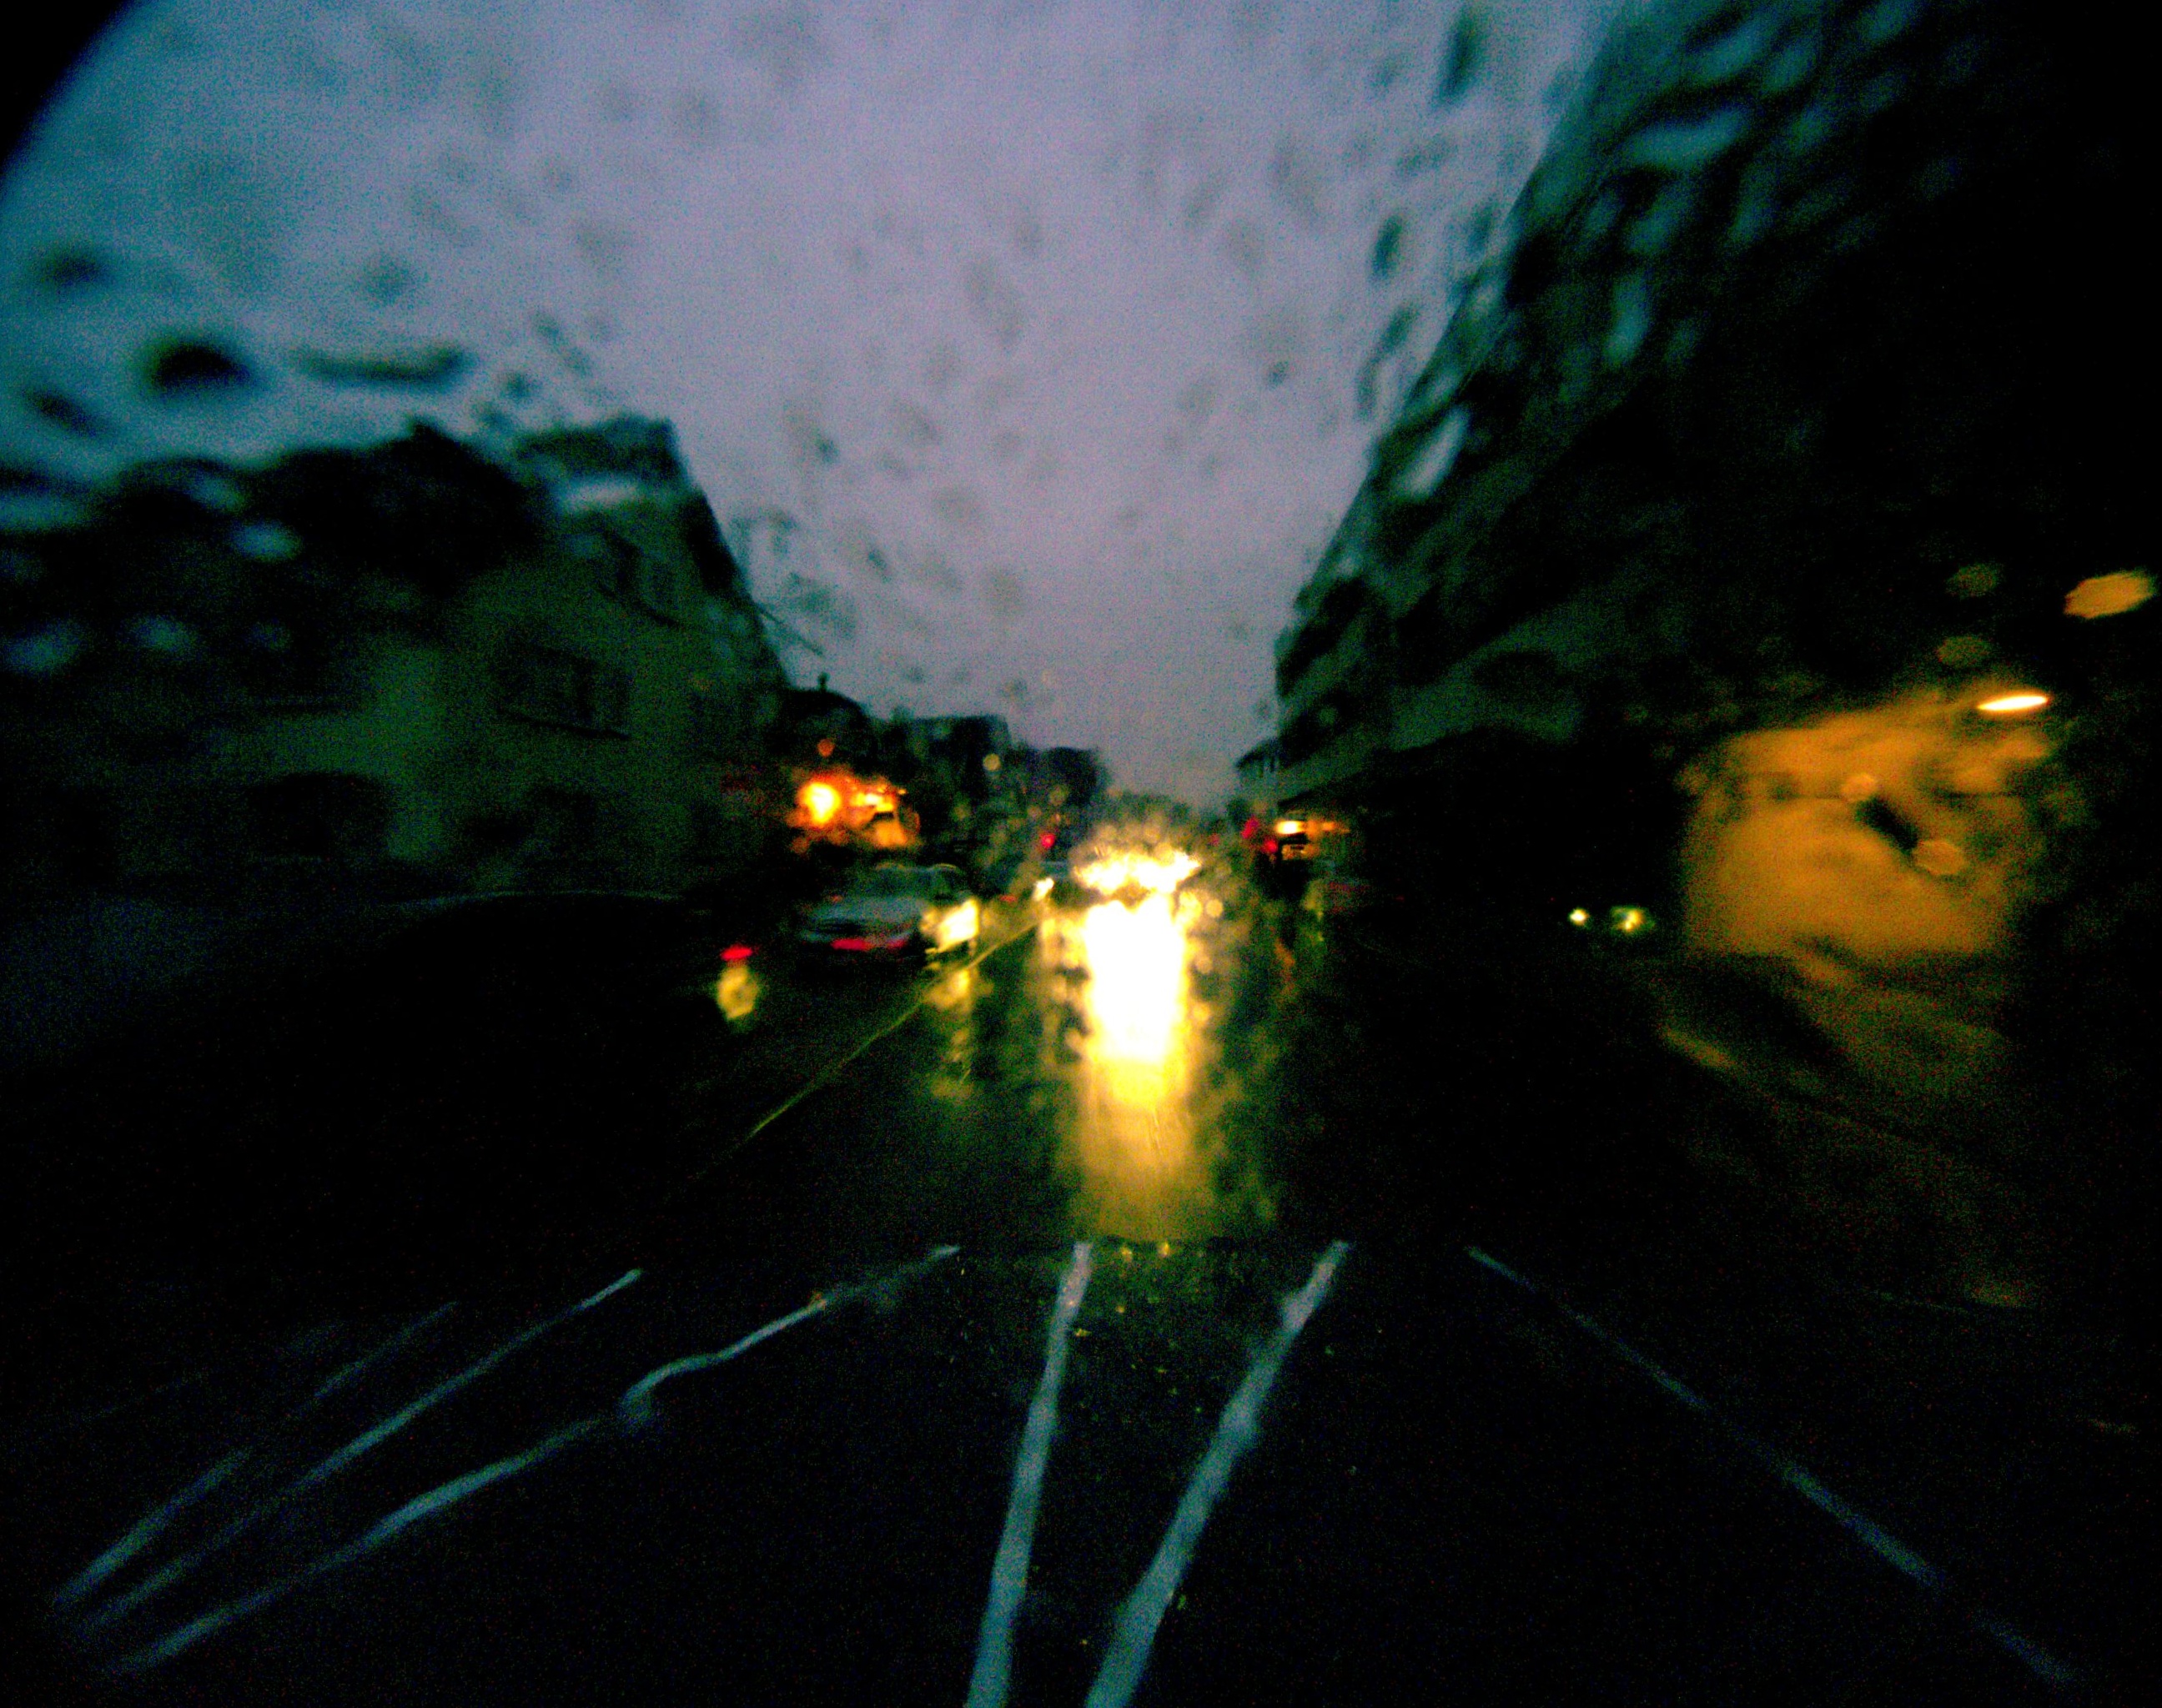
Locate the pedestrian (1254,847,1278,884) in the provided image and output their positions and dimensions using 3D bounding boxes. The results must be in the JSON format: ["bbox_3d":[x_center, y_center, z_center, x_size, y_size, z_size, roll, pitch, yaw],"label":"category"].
[{"bbox_3d":[9.824,0.611,40.286,1.200,1.927,0.977,0,0,14],"label":"pedestrian"}]

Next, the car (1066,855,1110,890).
[{"bbox_3d":[0.409,0.844,37.241,1.768,1.518,4.391,2,1,5],"label":"car"}]

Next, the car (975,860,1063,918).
[{"bbox_3d":[-1.723,0.948,22.593,1.827,1.415,4.609,2,1,5],"label":"car"}]

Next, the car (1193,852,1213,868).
[{"bbox_3d":[15.211,0.757,94.458,1.882,1.888,4.840,-2,-1,15],"label":"car"}]

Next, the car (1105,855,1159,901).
[{"bbox_3d":[2.025,0.859,29.174,1.877,1.622,4.002,-1,0,6],"label":"car"}]

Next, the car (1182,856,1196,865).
[{"bbox_3d":[17.771,1.021,125.116,1.796,1.501,4.004,1,0,14],"label":"car"}]

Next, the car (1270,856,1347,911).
[{"bbox_3d":[6.998,0.854,23.704,1.618,1.524,3.930,-2,0,7],"label":"car"}]

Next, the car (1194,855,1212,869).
[{"bbox_3d":[13.716,0.856,85.177,1.797,1.448,4.399,-2,0,12],"label":"car"}]

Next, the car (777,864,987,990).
[{"bbox_3d":[-2.753,0.931,11.684,1.798,1.452,4.531,1,0,3],"label":"car"}]

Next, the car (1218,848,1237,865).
[{"bbox_3d":[23.576,0.356,122.388,2.044,2.643,4.217,-3,-1,22],"label":"car"}]

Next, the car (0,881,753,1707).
[{"bbox_3d":[-3.039,0.946,2.461,1.887,1.538,4.671,0,0,1],"label":"car"}]

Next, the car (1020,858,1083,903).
[{"bbox_3d":[-1.021,0.927,28.020,1.629,1.433,3.802,2,1,8],"label":"car"}]

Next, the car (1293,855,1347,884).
[{"bbox_3d":[13.093,0.843,41.858,1.767,1.490,4.452,0,-1,3],"label":"car"}]

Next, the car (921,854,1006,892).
[{"bbox_3d":[-5.097,0.812,33.150,3.296,1.433,1.687,3,1,5],"label":"car"}]

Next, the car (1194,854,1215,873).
[{"bbox_3d":[11.213,0.842,69.019,1.724,1.604,3.818,-3,0,7],"label":"car"}]

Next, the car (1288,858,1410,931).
[{"bbox_3d":[6.369,0.890,18.547,1.679,1.438,4.429,-3,0,5],"label":"car"}]
